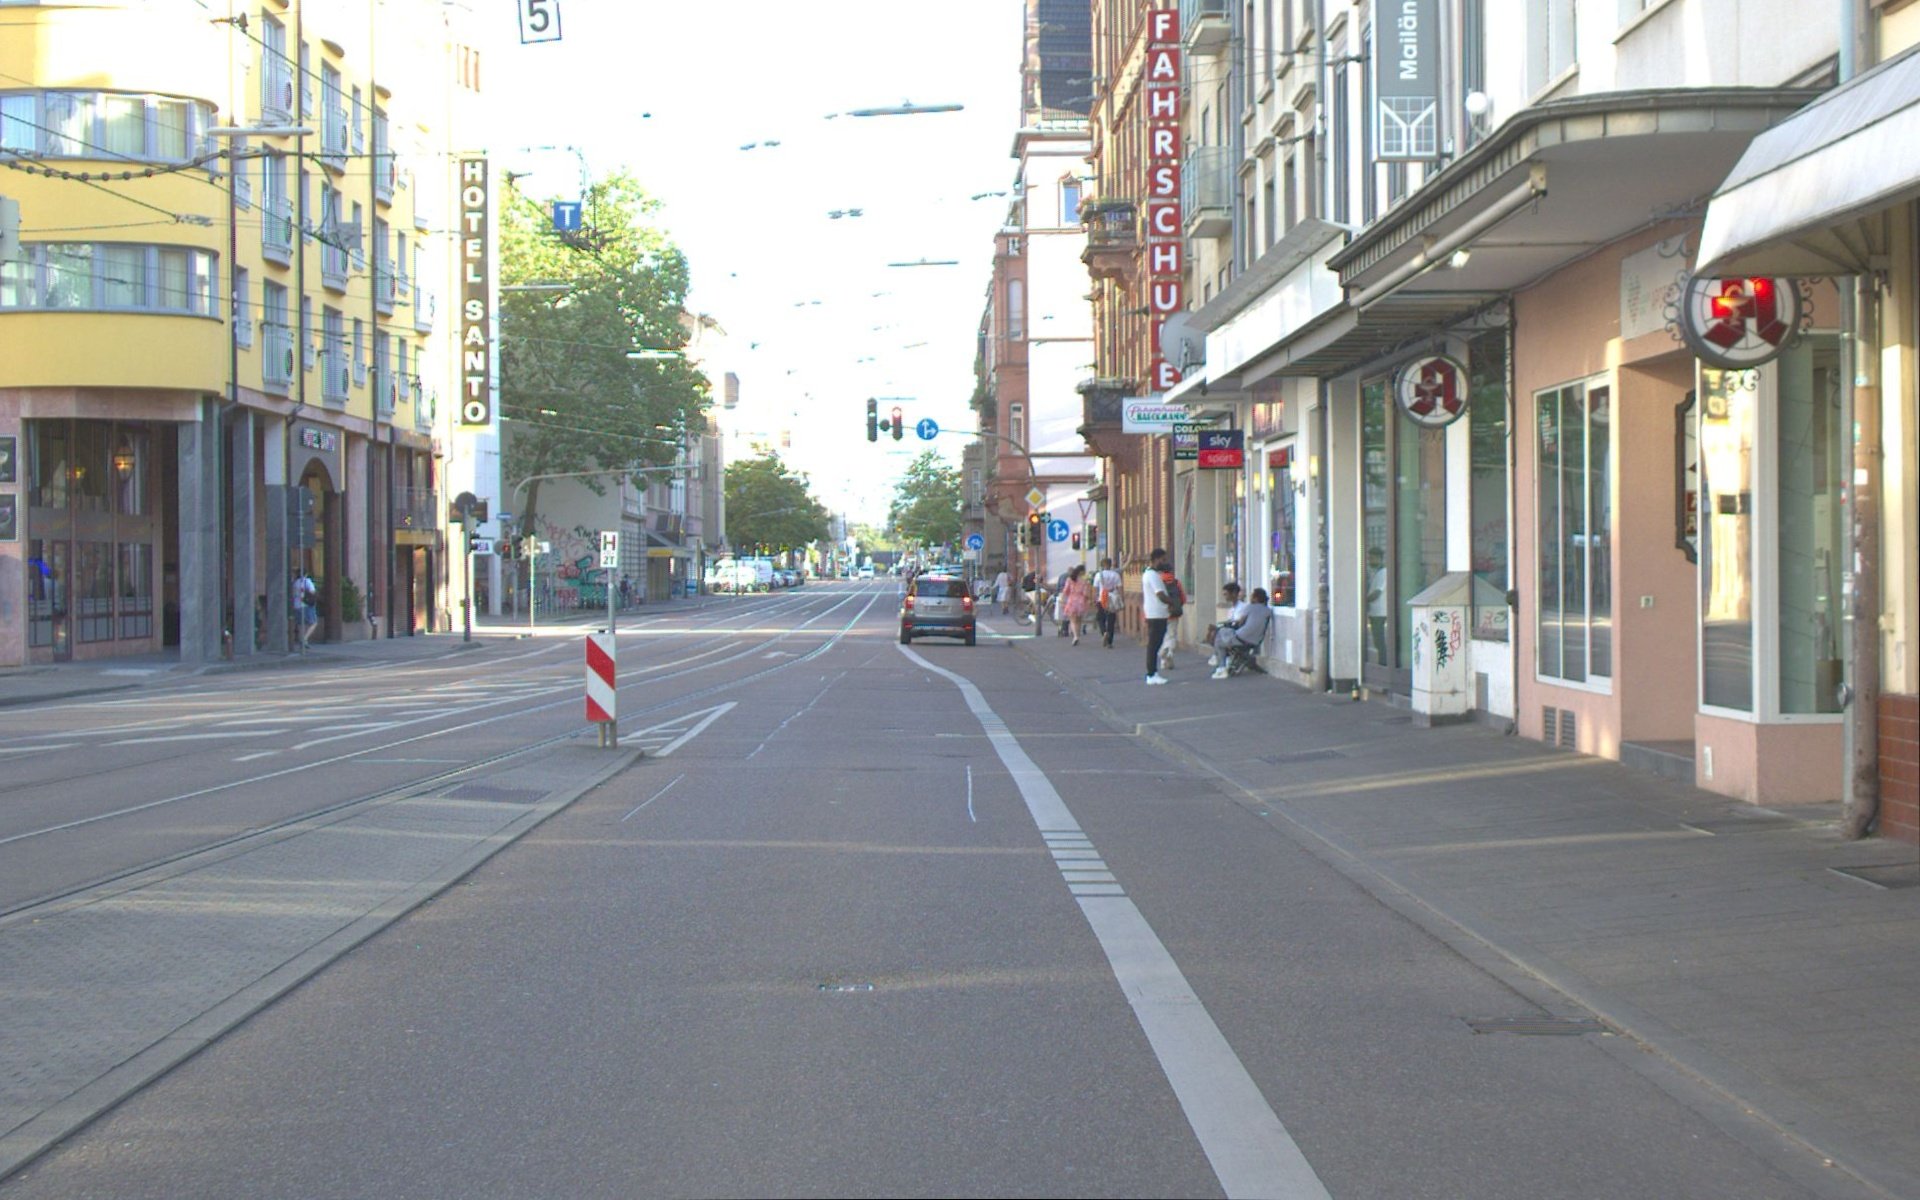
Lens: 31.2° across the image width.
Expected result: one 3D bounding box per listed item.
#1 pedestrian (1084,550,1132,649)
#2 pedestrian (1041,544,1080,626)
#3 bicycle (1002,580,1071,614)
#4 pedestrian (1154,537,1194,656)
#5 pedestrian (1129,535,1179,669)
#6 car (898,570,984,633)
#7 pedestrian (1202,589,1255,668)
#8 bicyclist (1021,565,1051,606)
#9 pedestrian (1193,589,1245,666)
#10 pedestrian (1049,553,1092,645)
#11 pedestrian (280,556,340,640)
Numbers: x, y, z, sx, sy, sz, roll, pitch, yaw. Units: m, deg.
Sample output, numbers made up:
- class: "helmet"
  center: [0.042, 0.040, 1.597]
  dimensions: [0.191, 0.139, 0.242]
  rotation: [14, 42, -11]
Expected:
- class: "pedestrian"
  center: [2.910, -0.016, 67.670]
  dimensions: [0.848, 1.911, 1.035]
  rotation: [0, 0, -2]
- class: "pedestrian"
  center: [2.356, -0.351, 80.824]
  dimensions: [0.843, 1.911, 0.847]
  rotation: [0, 0, -2]
- class: "bicycle"
  center: [2.301, -0.093, 103.015]
  dimensions: [1.935, 1.000, 0.753]
  rotation: [-1, 1, 17]
- class: "pedestrian"
  center: [3.249, -0.055, 52.166]
  dimensions: [0.560, 1.790, 0.650]
  rotation: [0, 0, 6]
- class: "pedestrian"
  center: [2.621, 0.020, 46.438]
  dimensions: [0.648, 1.790, 0.561]
  rotation: [0, 0, 4]
- class: "car"
  center: [-0.471, 0.016, 81.720]
  dimensions: [1.993, 1.444, 4.000]
  rotation: [0, 1, -1]
- class: "pedestrian"
  center: [3.599, 0.378, 46.145]
  dimensions: [0.690, 1.040, 0.680]
  rotation: [0, 1, 4]
- class: "bicyclist"
  center: [2.278, -0.441, 103.014]
  dimensions: [0.710, 1.216, 0.753]
  rotation: [-1, 1, 17]
- class: "pedestrian"
  center: [3.545, 0.376, 47.136]
  dimensions: [0.690, 1.040, 0.680]
  rotation: [0, 1, 4]
- class: "pedestrian"
  center: [2.318, -0.031, 72.124]
  dimensions: [0.843, 1.911, 0.662]
  rotation: [0, 0, -2]
- class: "pedestrian"
  center: [-14.072, -0.056, 74.463]
  dimensions: [0.908, 1.809, 1.151]
  rotation: [0, 1, 11]
